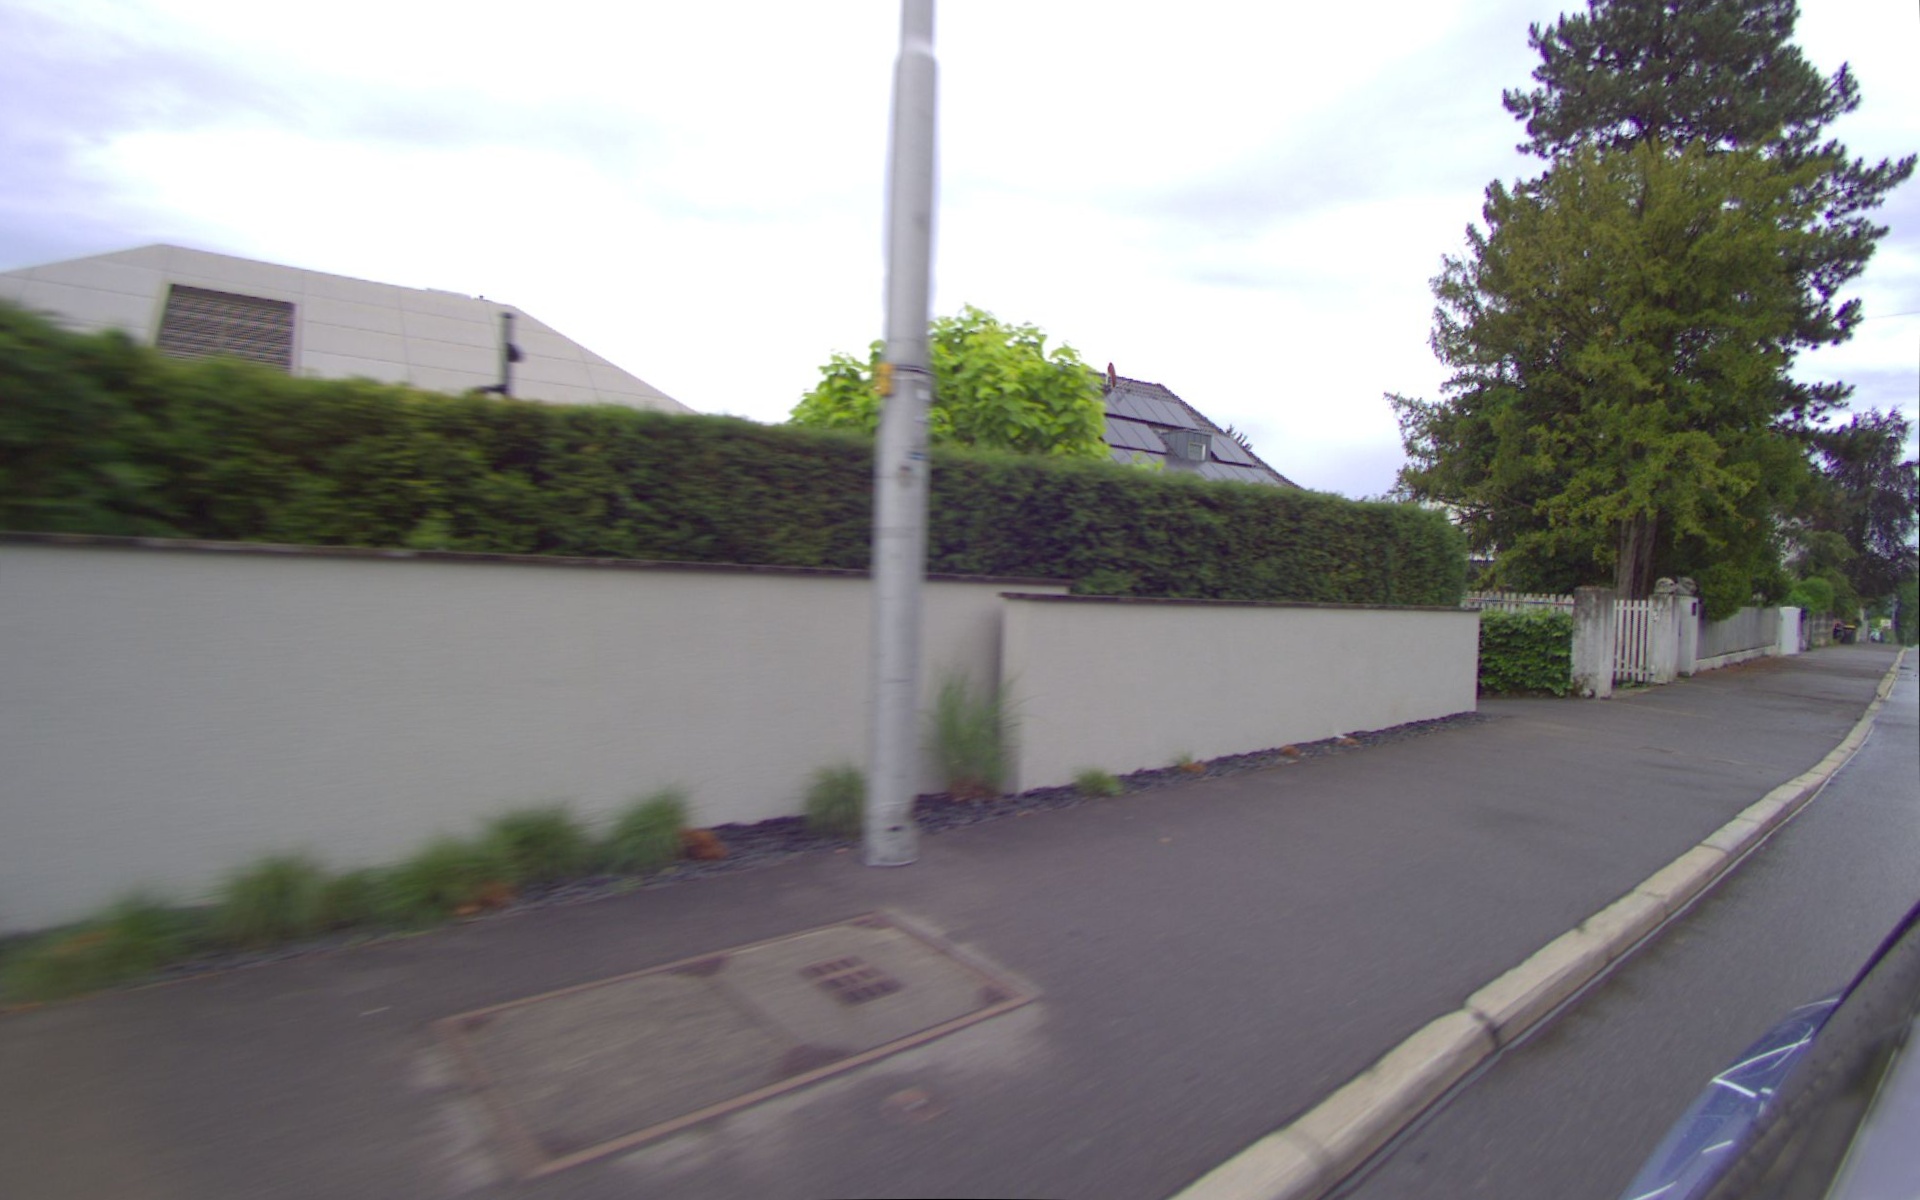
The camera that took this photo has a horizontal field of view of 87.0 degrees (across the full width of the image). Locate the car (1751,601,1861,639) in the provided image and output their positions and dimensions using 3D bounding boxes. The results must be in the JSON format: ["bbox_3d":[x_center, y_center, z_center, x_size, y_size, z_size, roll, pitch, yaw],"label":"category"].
[{"bbox_3d":[41.123,0.947,49.255,3.988,1.661,1.887,2,-2,44],"label":"car"}]

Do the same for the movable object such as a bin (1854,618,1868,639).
[{"bbox_3d":[44.016,1.400,49.462,0.494,0.968,0.495,1,-2,42],"label":"movable object such as a bin"}]

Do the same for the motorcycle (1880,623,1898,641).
[{"bbox_3d":[70.669,2.453,76.995,2.116,1.240,0.695,4,5,-42],"label":"motorcycle"}]
